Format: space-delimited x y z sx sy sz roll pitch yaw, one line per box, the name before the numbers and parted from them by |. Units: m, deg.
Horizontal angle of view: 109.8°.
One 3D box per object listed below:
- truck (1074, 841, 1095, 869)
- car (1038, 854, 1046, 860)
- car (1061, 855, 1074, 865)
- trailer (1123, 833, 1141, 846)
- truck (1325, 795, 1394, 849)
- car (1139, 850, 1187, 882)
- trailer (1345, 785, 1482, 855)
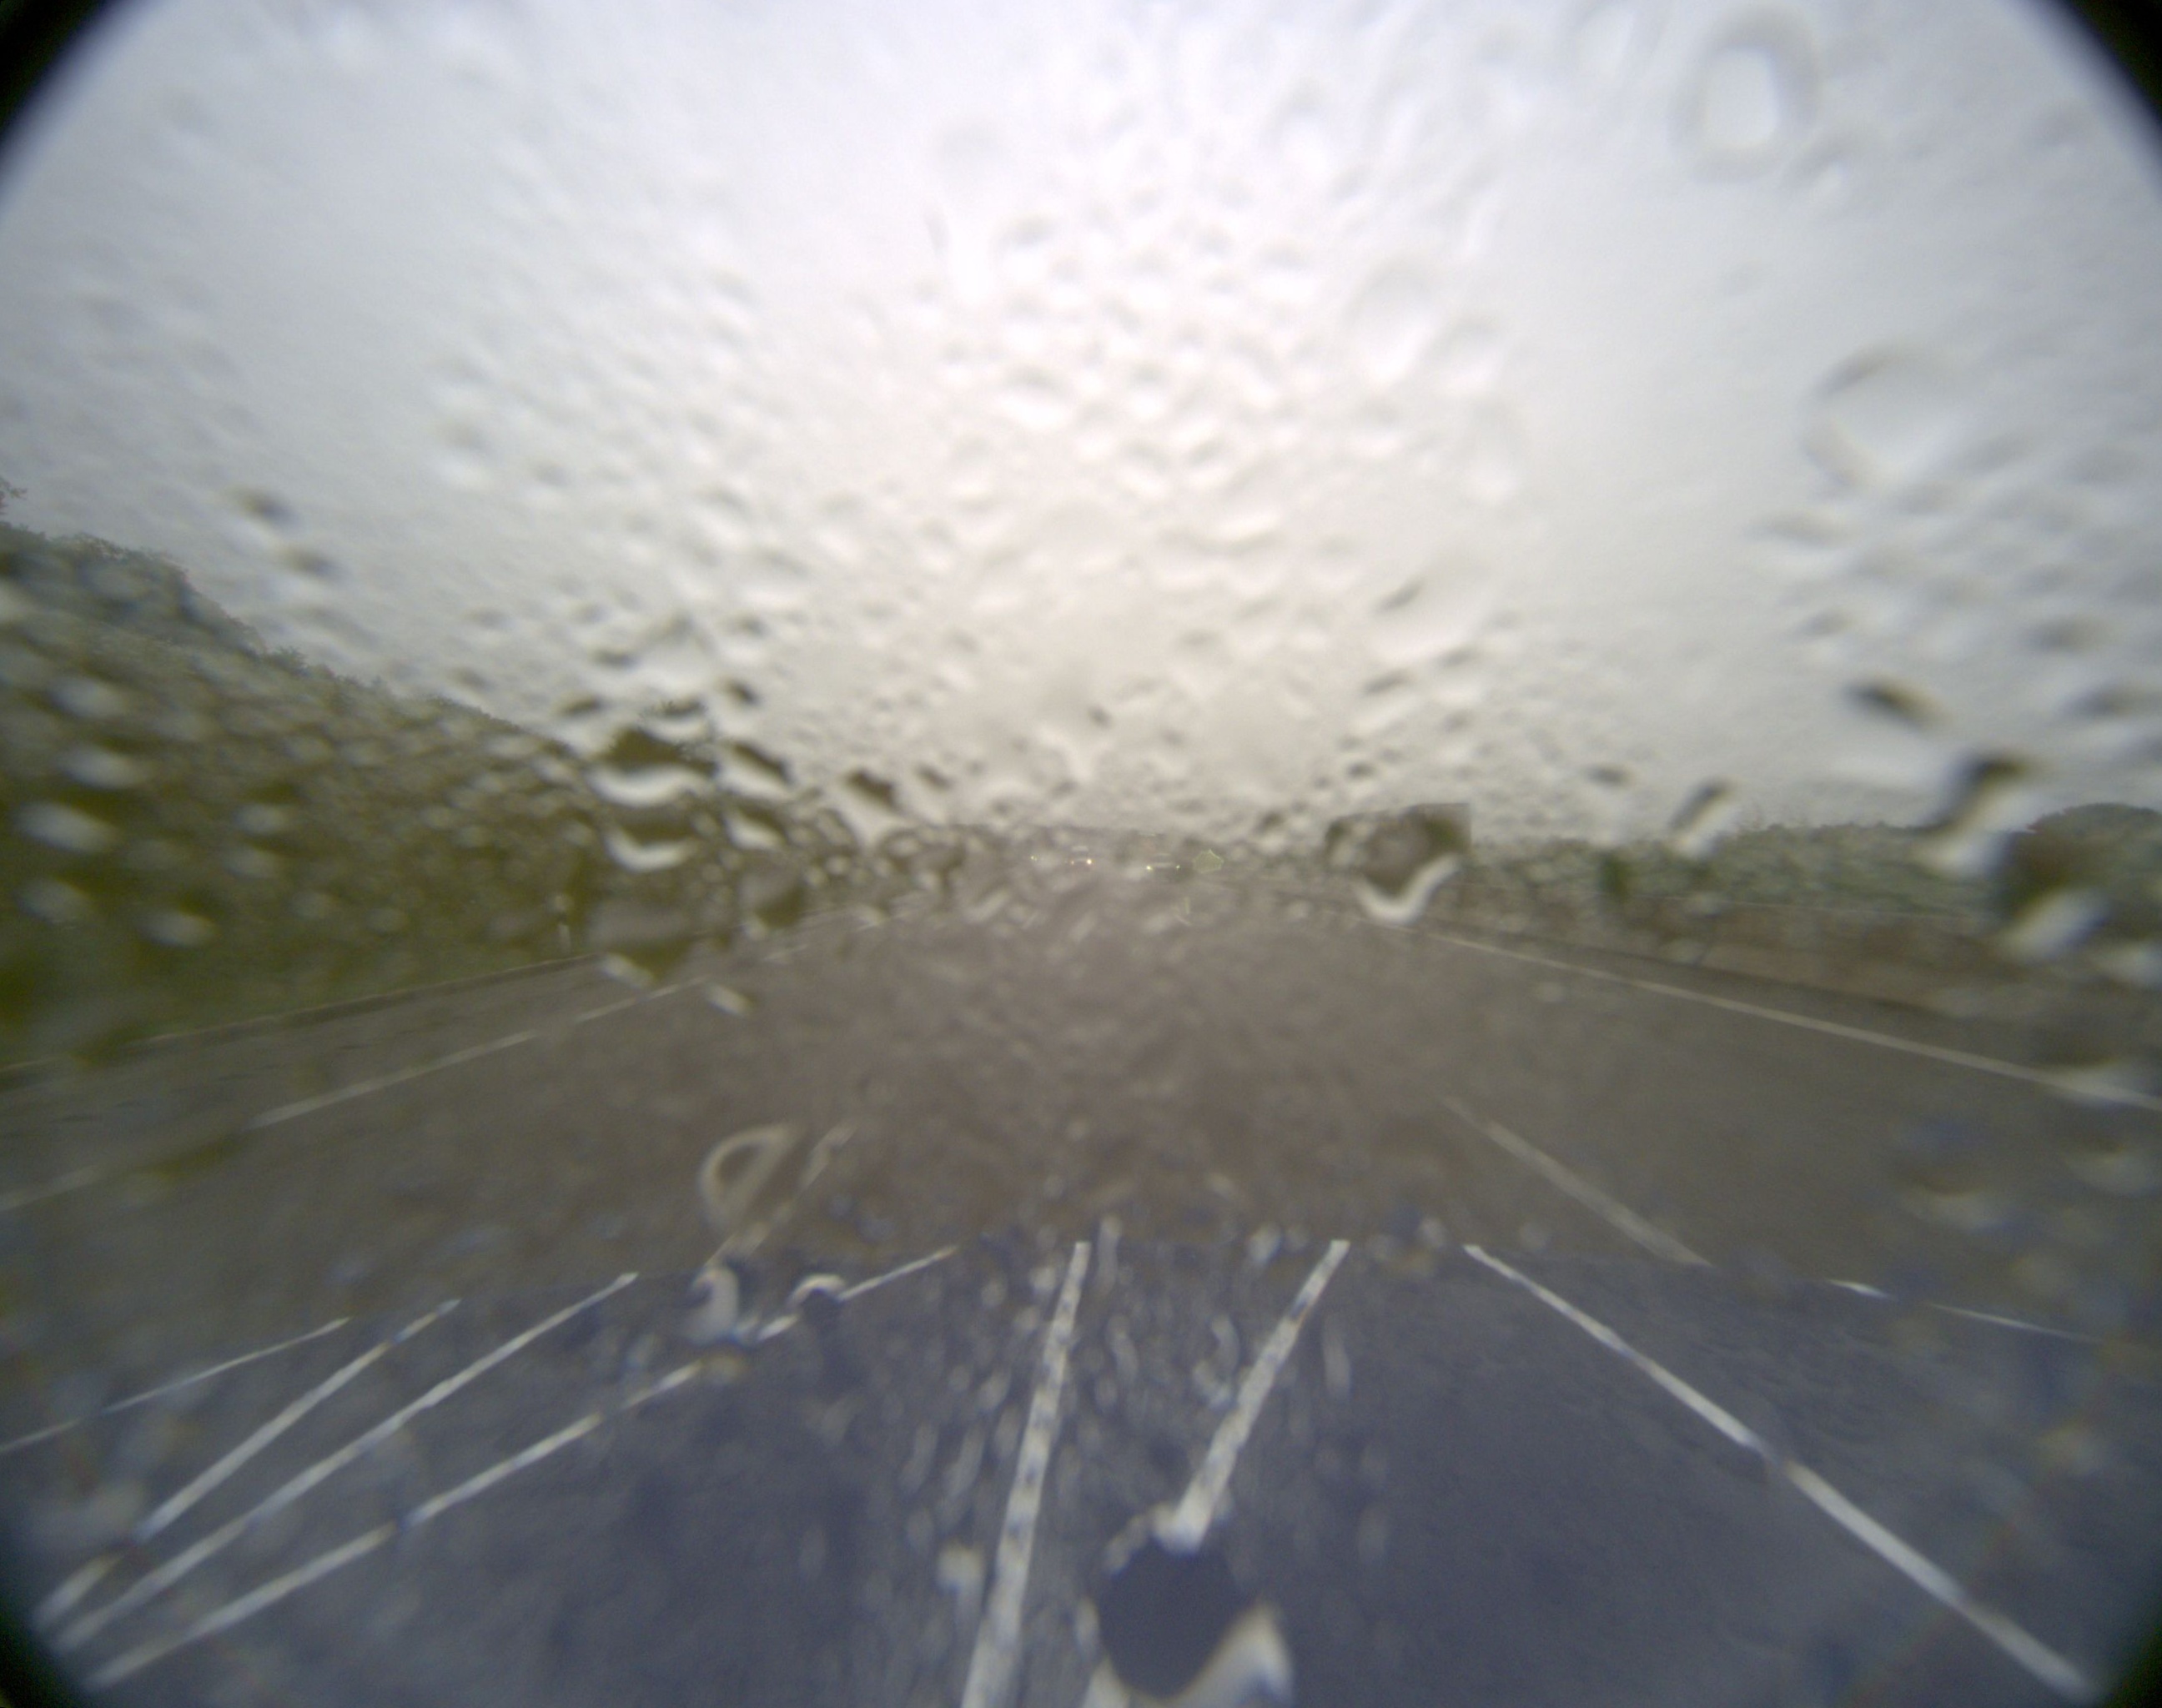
truck | 0.338 0.030 80.283 1.999 2.699 7.997 -2 2 0
car | -9.972 0.821 195.554 1.999 1.543 3.998 -2 1 -4
car | -2.264 0.980 127.154 1.999 1.521 3.999 -2 1 -2
trailer | 13.466 -3.912 201.654 2.996 3.126 15.711 -2 2 -3
truck | 20.078 -2.255 55.050 2.957 3.602 5.462 -2 2 0
car | 4.376 0.609 41.272 1.999 1.608 3.999 -2 1 -2
trailer | 20.095 -2.015 47.219 3.000 3.619 12.486 -2 2 0
